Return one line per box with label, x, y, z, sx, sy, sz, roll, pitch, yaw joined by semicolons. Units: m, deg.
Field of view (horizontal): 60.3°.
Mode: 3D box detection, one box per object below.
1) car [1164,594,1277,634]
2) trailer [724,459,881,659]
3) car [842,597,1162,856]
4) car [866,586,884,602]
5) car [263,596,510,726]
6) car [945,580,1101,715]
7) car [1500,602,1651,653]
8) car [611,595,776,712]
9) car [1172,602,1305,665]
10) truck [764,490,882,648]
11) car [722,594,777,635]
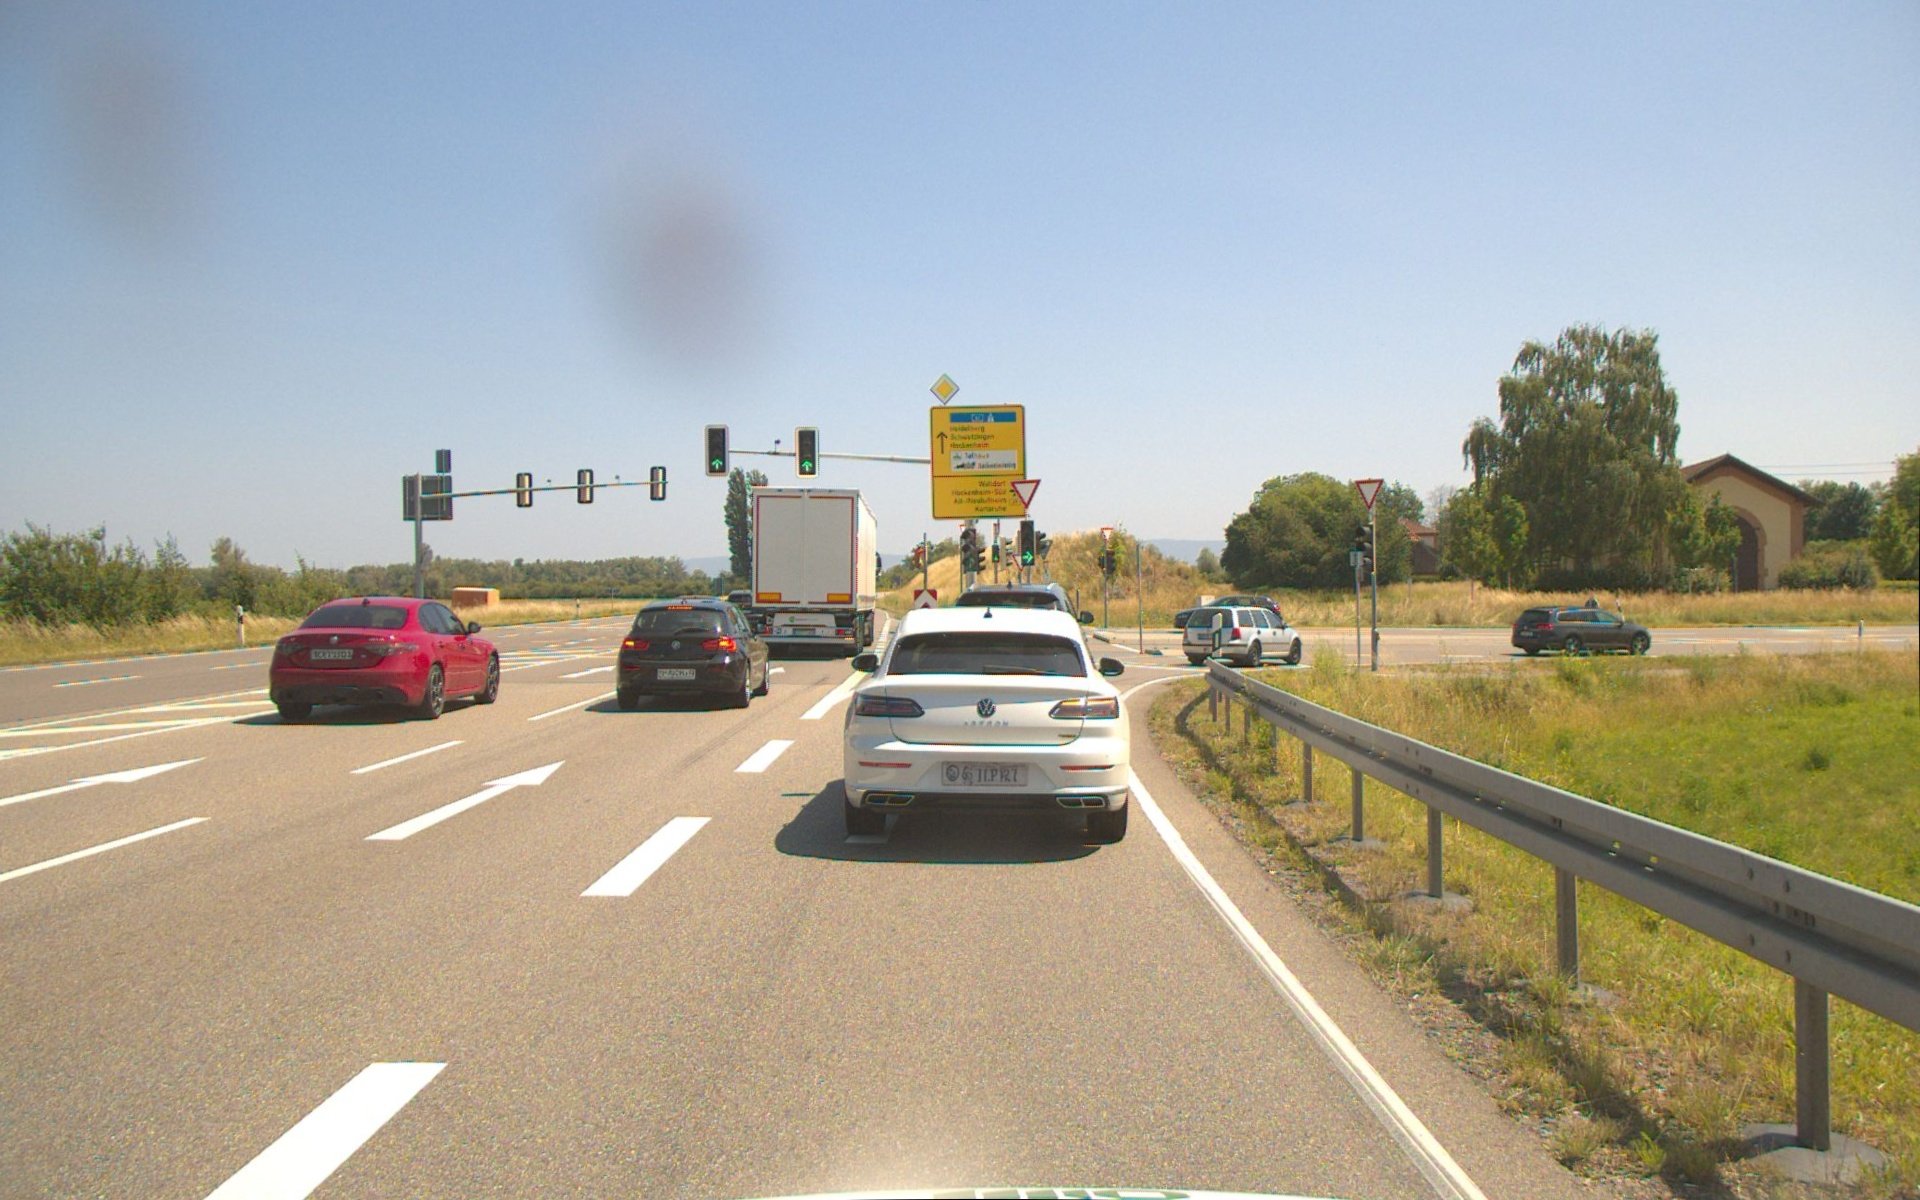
car;10.099;0.525;64.369;4.171;1.392;1.777;-1;1;2
trailer;-3.986;-0.964;45.035;3.312;4.622;12.867;1;0;-1
car;0.214;0.728;11.674;1.810;1.458;4.607;0;0;-1
car;-10.183;-0.709;198.079;1.941;1.902;4.463;0;0;-4
car;-7.175;0.696;21.203;1.714;1.446;4.564;1;0;-2
car;0.930;0.589;22.370;1.894;1.645;4.380;0;0;4
car;18.737;0.822;50.353;4.342;1.502;1.792;0;0;-24
car;-3.659;0.681;23.421;1.748;1.456;4.379;1;0;-2
car;6.894;0.788;40.676;1.768;1.454;4.081;0;0;33
truck;-4.178;-0.916;51.916;3.313;4.622;6.370;1;0;-2
car;-8.147;0.540;64.288;1.773;1.519;4.019;1;0;-3
